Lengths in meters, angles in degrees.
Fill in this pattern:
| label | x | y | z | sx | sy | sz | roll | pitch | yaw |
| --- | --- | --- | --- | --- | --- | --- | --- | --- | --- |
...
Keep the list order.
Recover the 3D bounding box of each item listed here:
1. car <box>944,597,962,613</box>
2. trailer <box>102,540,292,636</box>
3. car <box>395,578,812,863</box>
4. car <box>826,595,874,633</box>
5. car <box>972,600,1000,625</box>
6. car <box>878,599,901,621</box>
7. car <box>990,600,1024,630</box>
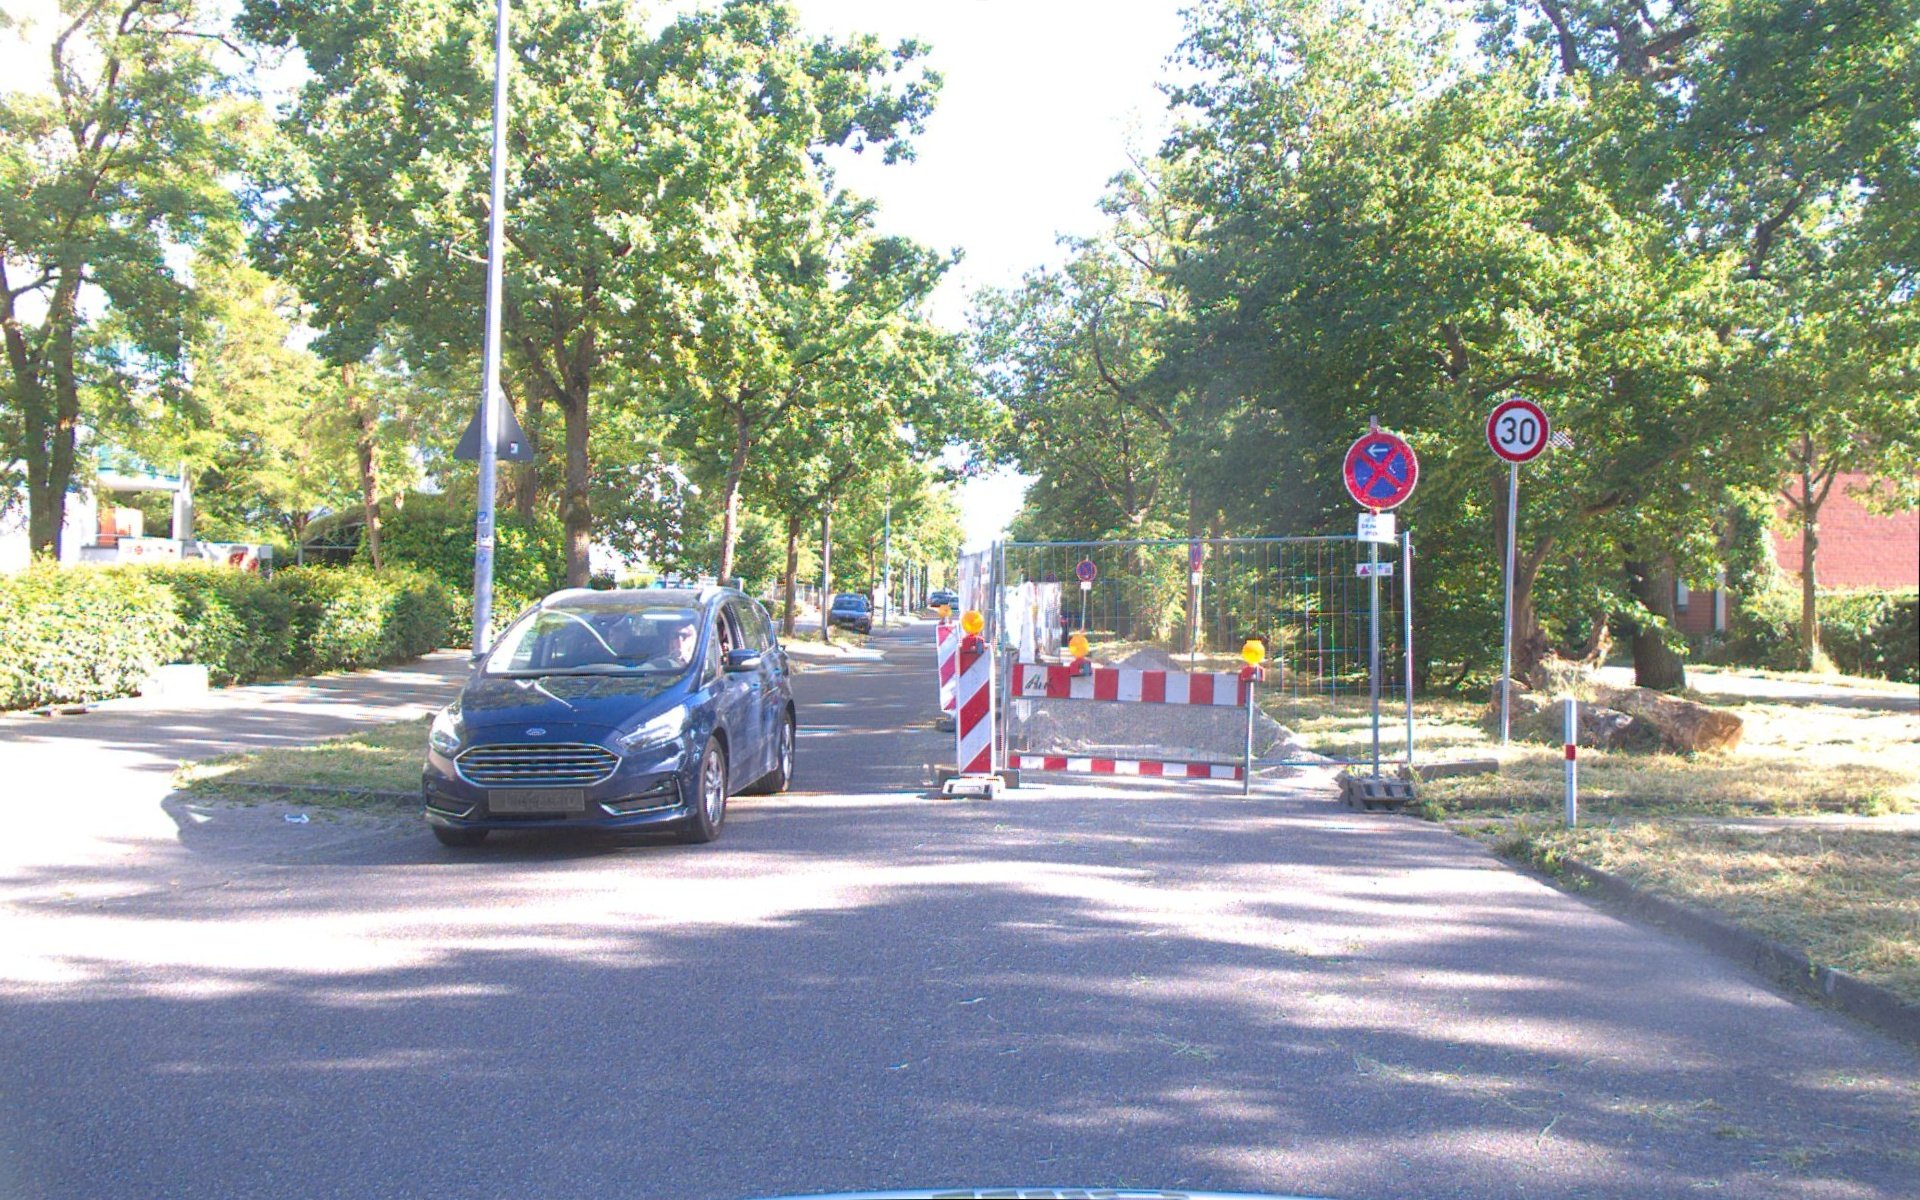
| label | x | y | z | sx | sy | sz | roll | pitch | yaw |
| --- | --- | --- | --- | --- | --- | --- | --- | --- | --- |
| car | -0.781 | 0.567 | 182.557 | 1.676 | 1.613 | 3.997 | 2 | -1 | -3 |
| trailer | -17.711 | -0.262 | 38.652 | 1.934 | 2.078 | 4.433 | 1 | 0 | 7 |
| car | -2.302 | 0.707 | 11.963 | 1.783 | 1.653 | 4.494 | -1 | 0 | 3 |
| car | -4.486 | 0.555 | 68.016 | 1.715 | 1.504 | 3.836 | 1 | 0 | -1 |
| car | 1.409 | 0.689 | 90.595 | 1.334 | 1.325 | 3.480 | 2 | -1 | -2 |
| car | -4.377 | 0.626 | 103.157 | 1.334 | 1.325 | 3.480 | 2 | -1 | -2 |
| car | 2.179 | 0.693 | 77.626 | 1.334 | 1.325 | 3.480 | 2 | -1 | -2 |
